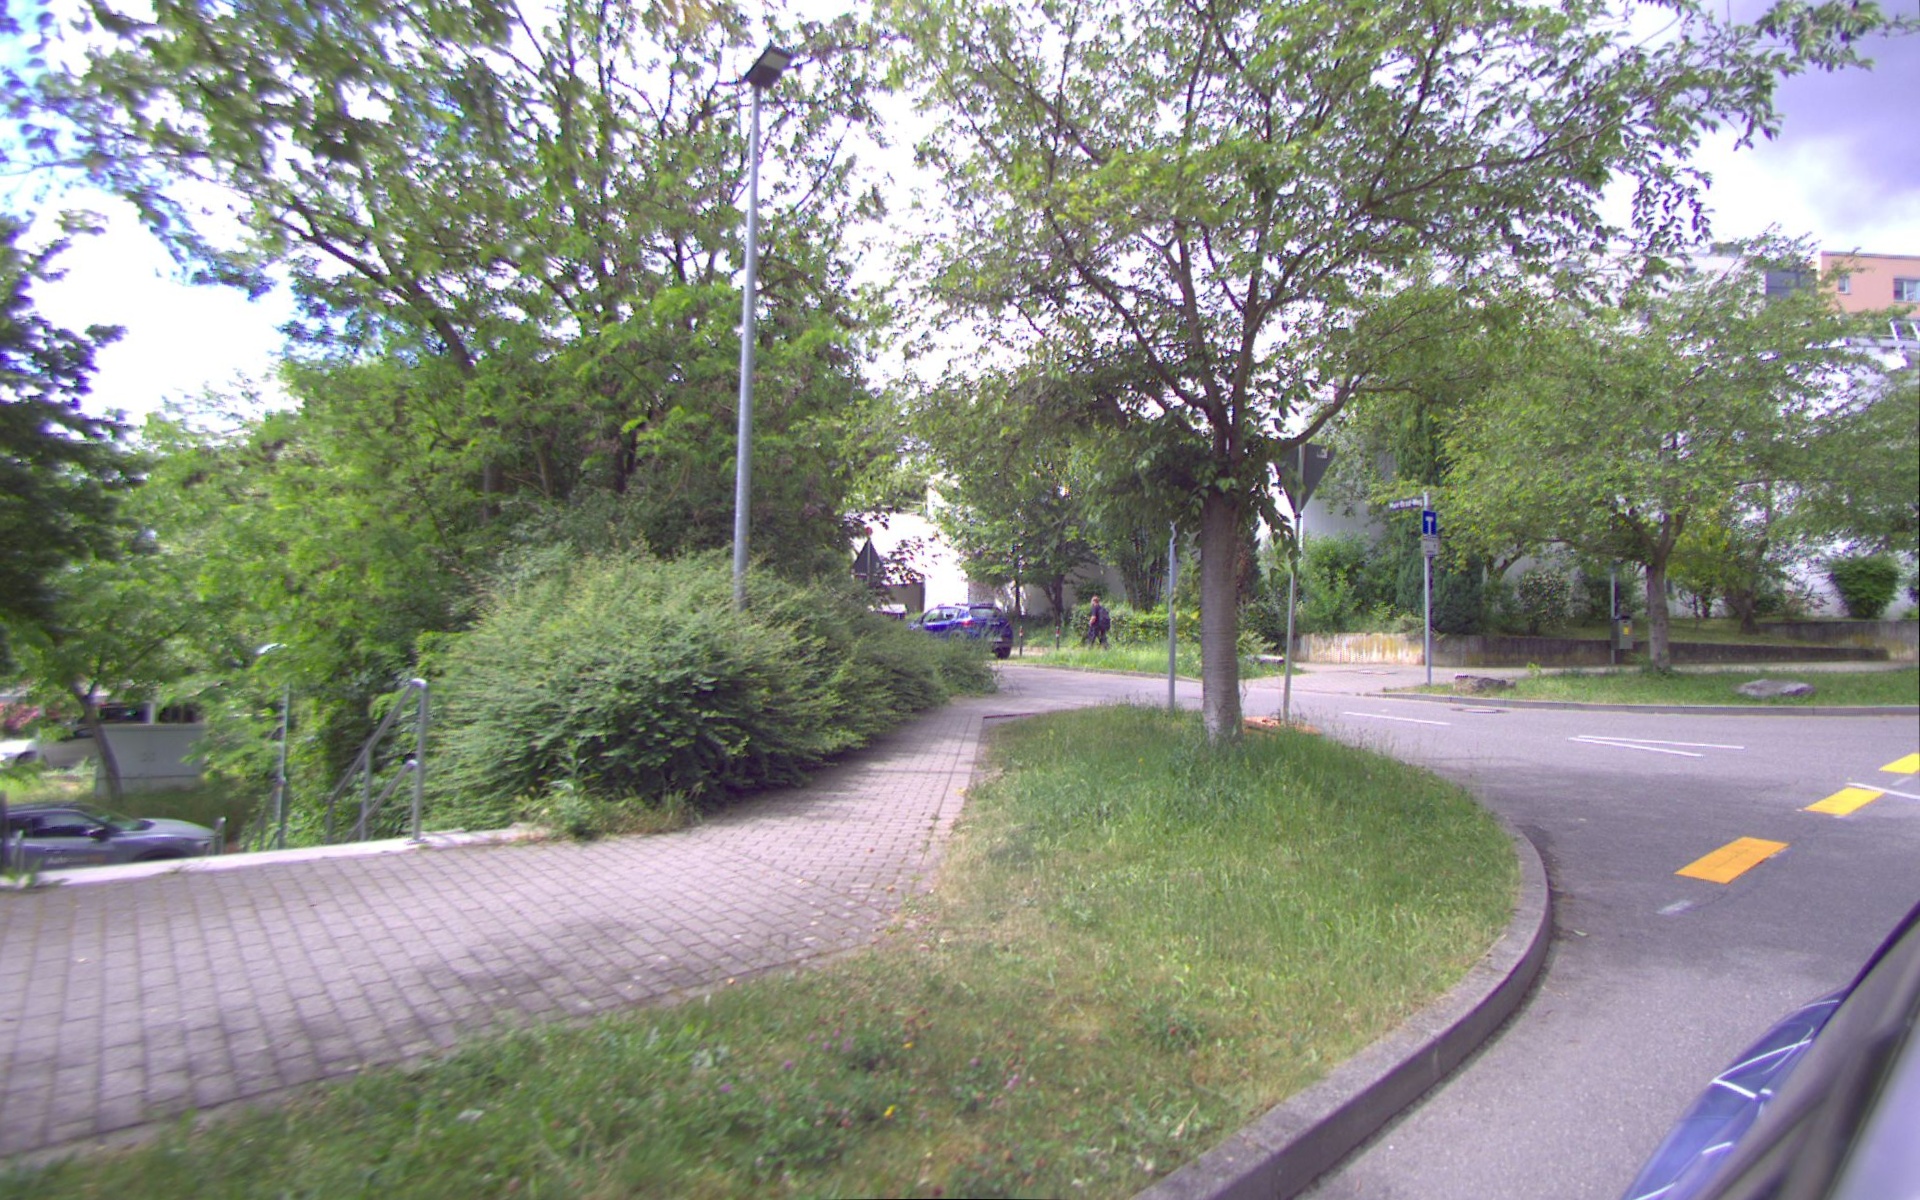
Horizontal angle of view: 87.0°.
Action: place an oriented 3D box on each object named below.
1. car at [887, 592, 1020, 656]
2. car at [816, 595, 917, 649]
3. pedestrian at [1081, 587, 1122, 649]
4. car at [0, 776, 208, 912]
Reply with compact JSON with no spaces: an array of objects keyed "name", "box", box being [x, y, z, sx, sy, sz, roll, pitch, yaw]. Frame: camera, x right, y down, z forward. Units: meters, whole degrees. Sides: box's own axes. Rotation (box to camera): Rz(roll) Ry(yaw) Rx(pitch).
[{"name":"car","box":[-0.251,0.658,28.982,1.697,1.683,3.996,-1,0,-38]},{"name":"car","box":[-3.186,0.691,33.744,1.695,1.683,4.001,-1,0,-33]},{"name":"pedestrian","box":[4.074,0.510,29.145,0.770,1.759,0.835,-1,0,-33]},{"name":"car","box":[-14.533,3.980,16.588,3.511,1.538,1.712,-1,0,-37]}]
